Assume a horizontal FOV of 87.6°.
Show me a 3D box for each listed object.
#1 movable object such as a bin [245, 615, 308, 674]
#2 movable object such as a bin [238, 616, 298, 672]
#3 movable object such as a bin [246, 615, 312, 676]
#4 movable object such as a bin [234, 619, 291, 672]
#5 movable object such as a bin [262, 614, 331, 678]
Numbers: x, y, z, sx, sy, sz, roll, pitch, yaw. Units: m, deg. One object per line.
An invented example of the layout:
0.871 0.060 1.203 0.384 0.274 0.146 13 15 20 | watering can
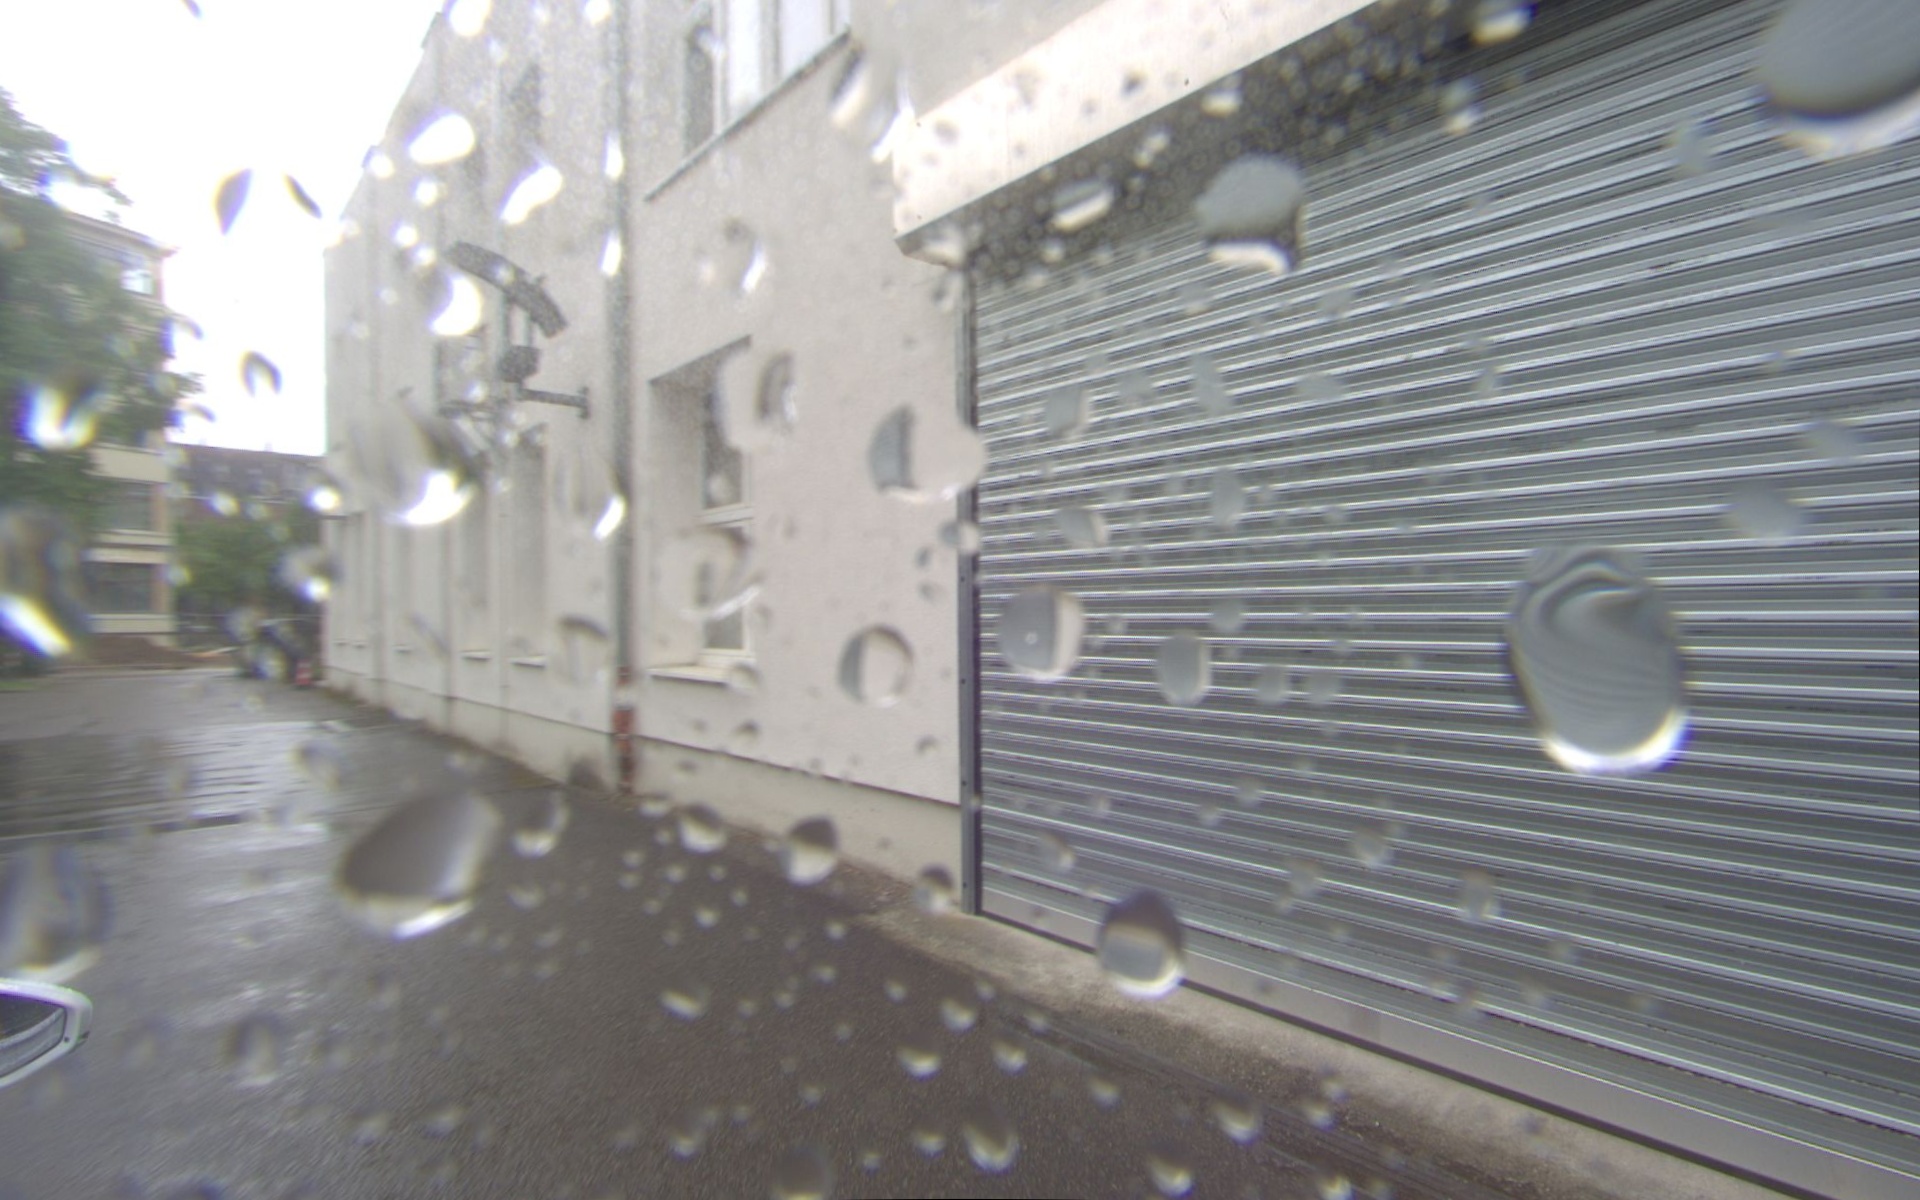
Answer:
-17.726 1.159 25.954 1.206 1.486 1.225 0 -3 -41 | movable object such as a bin
-18.636 1.197 26.971 1.206 1.454 1.249 0 -3 -41 | movable object such as a bin
-16.822 1.117 24.722 1.206 1.454 1.283 0 -3 -41 | movable object such as a bin
-19.518 1.270 28.016 1.206 1.454 1.249 0 -3 -41 | movable object such as a bin
-15.551 1.075 23.475 1.206 1.454 1.225 0 -3 -41 | movable object such as a bin
